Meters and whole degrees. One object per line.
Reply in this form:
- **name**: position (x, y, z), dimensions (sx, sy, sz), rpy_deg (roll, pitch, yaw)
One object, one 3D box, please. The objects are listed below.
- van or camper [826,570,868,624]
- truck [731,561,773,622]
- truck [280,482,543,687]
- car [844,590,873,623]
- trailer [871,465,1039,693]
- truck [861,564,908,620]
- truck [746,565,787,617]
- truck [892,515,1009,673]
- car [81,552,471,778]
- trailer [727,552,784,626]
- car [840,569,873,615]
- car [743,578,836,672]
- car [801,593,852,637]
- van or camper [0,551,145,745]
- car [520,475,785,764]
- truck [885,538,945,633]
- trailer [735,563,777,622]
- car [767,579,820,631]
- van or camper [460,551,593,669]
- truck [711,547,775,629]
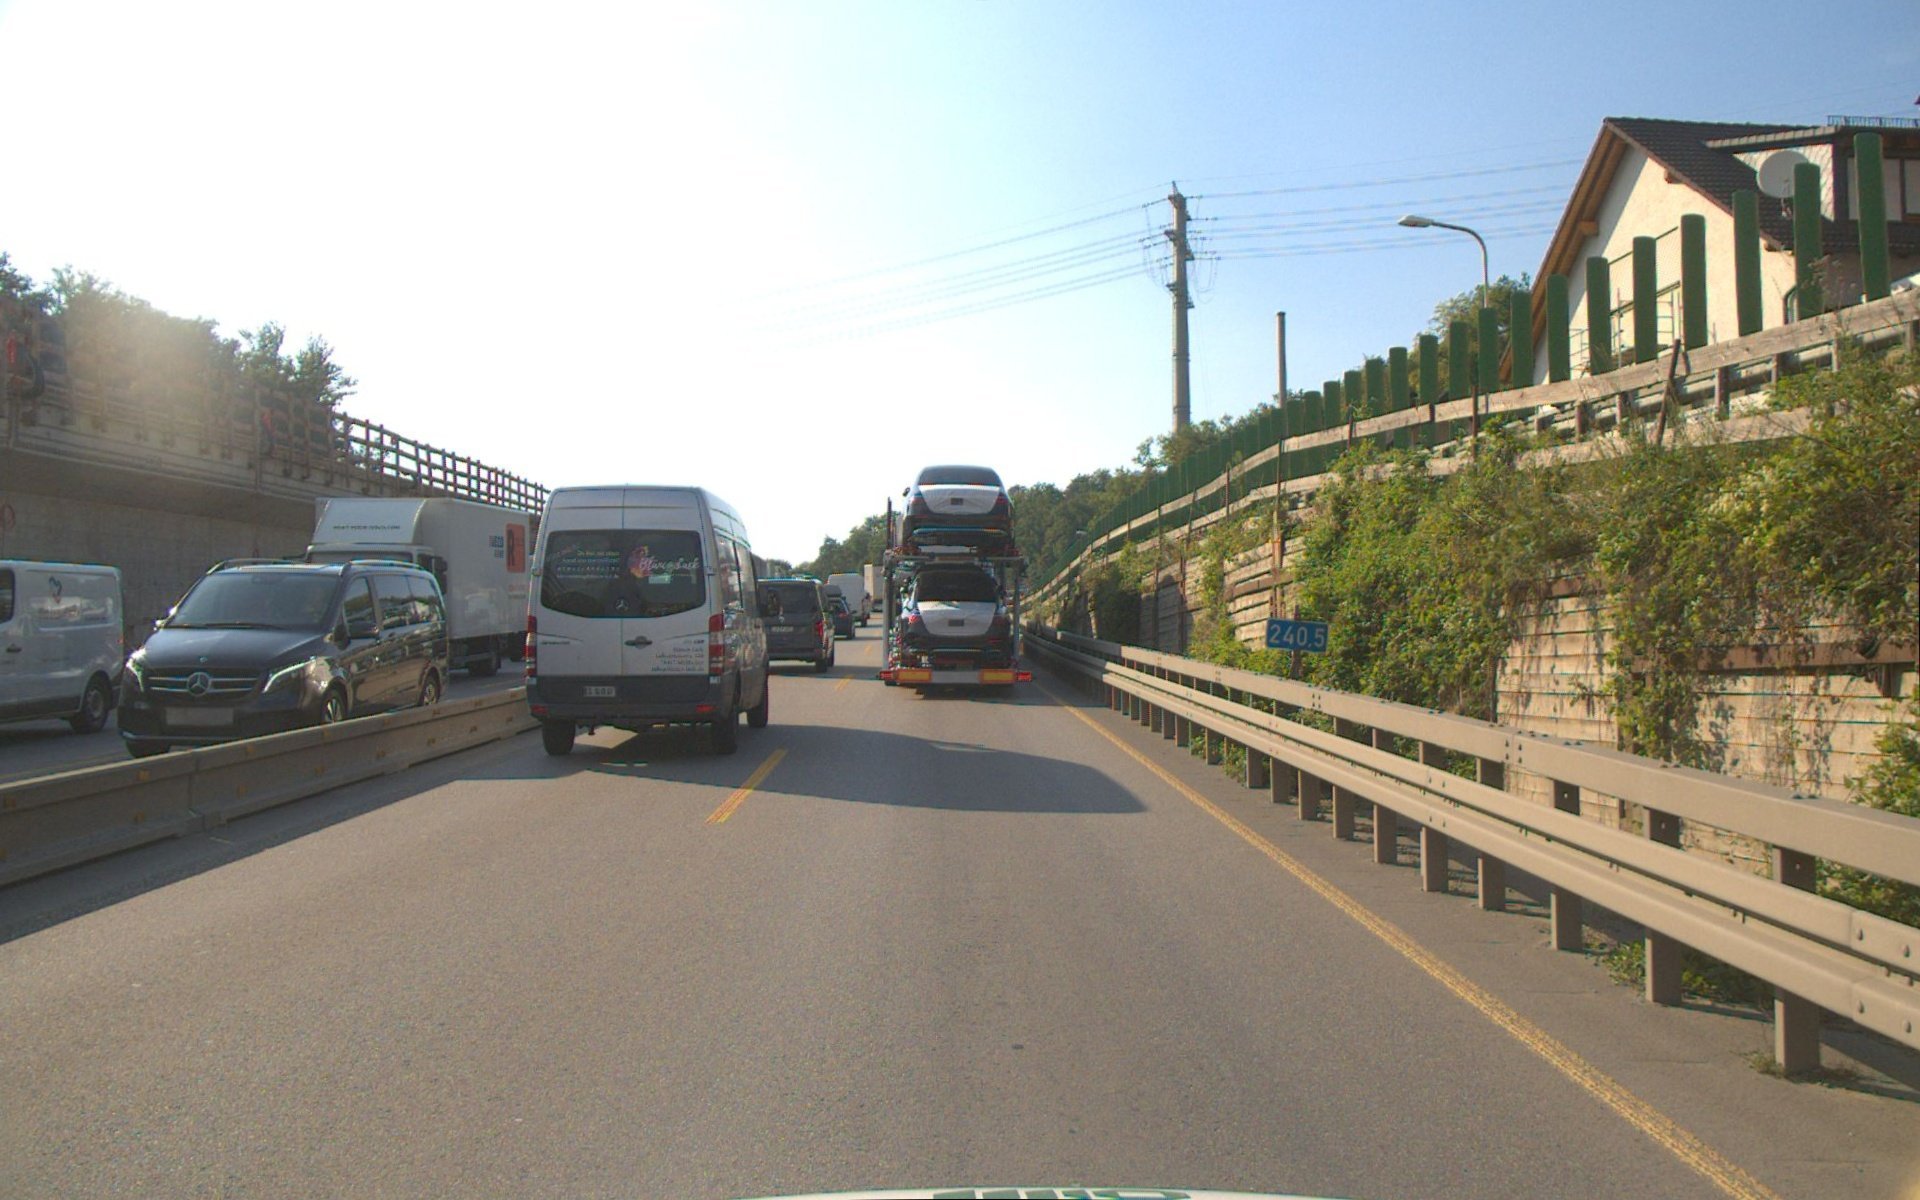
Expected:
- **van or camper**: position (-5.726, -0.120, 84.258), dimensions (1.929, 2.637, 5.039), rpy_deg (1, -1, -2)
- **truck**: position (-14.463, -0.565, 115.335), dimensions (2.657, 4.164, 6.196), rpy_deg (0, 0, -6)
- **truck**: position (-10.591, -0.211, 32.937), dimensions (2.660, 3.484, 8.137), rpy_deg (-2, -1, -2)
- **car**: position (-6.895, 0.448, 112.623), dimensions (1.847, 2.137, 3.764), rpy_deg (1, 0, -1)
- **trailer**: position (-0.156, -0.221, 33.983), dimensions (2.628, 3.597, 15.284), rpy_deg (1, -1, -1)
- **truck**: position (-6.533, -0.662, 144.968), dimensions (3.983, 4.761, 10.587), rpy_deg (0, 0, -2)
- **truck**: position (-16.774, -0.719, 144.197), dimensions (2.924, 4.226, 15.840), rpy_deg (1, 0, -4)
- **truck**: position (-0.257, -0.091, 41.549), dimensions (2.628, 3.597, 7.192), rpy_deg (1, -1, -1)
- **car**: position (-6.852, 0.586, 17.340), dimensions (1.945, 1.956, 5.289), rpy_deg (2, 0, -1)
- **trailer**: position (-12.464, -0.700, 101.588), dimensions (2.554, 4.184, 9.622), rpy_deg (-3, 1, -3)
- **car**: position (-11.995, -0.835, 190.638), dimensions (3.378, 5.123, 9.641), rpy_deg (1, 0, -6)
- **car**: position (-3.748, 0.572, 36.891), dimensions (1.772, 1.937, 3.997), rpy_deg (1, -1, -2)
- **car**: position (-4.915, 0.539, 61.437), dimensions (1.691, 1.549, 3.971), rpy_deg (1, 0, -2)
- **van or camper**: position (-10.628, 0.475, 17.241), dimensions (1.878, 1.956, 4.921), rpy_deg (1, 0, -1)
- **car**: position (-3.173, 0.183, 18.259), dimensions (1.953, 2.694, 5.529), rpy_deg (0, 0, -1)
- **truck**: position (-2.386, -0.718, 85.824), dimensions (2.850, 4.687, 7.280), rpy_deg (0, 0, -4)
- **trailer**: position (-15.097, -0.537, 122.968), dimensions (2.657, 4.164, 12.555), rpy_deg (0, 0, -5)
- **car**: position (-8.512, 0.271, 84.841), dimensions (2.421, 2.578, 3.998), rpy_deg (0, -1, -2)
- **van or camper**: position (-12.013, 0.314, 46.303), dimensions (2.273, 3.041, 6.220), rpy_deg (-1, -1, -2)
- **truck**: position (-11.957, -0.652, 91.925), dimensions (2.572, 4.184, 9.622), rpy_deg (-2, 0, -3)
